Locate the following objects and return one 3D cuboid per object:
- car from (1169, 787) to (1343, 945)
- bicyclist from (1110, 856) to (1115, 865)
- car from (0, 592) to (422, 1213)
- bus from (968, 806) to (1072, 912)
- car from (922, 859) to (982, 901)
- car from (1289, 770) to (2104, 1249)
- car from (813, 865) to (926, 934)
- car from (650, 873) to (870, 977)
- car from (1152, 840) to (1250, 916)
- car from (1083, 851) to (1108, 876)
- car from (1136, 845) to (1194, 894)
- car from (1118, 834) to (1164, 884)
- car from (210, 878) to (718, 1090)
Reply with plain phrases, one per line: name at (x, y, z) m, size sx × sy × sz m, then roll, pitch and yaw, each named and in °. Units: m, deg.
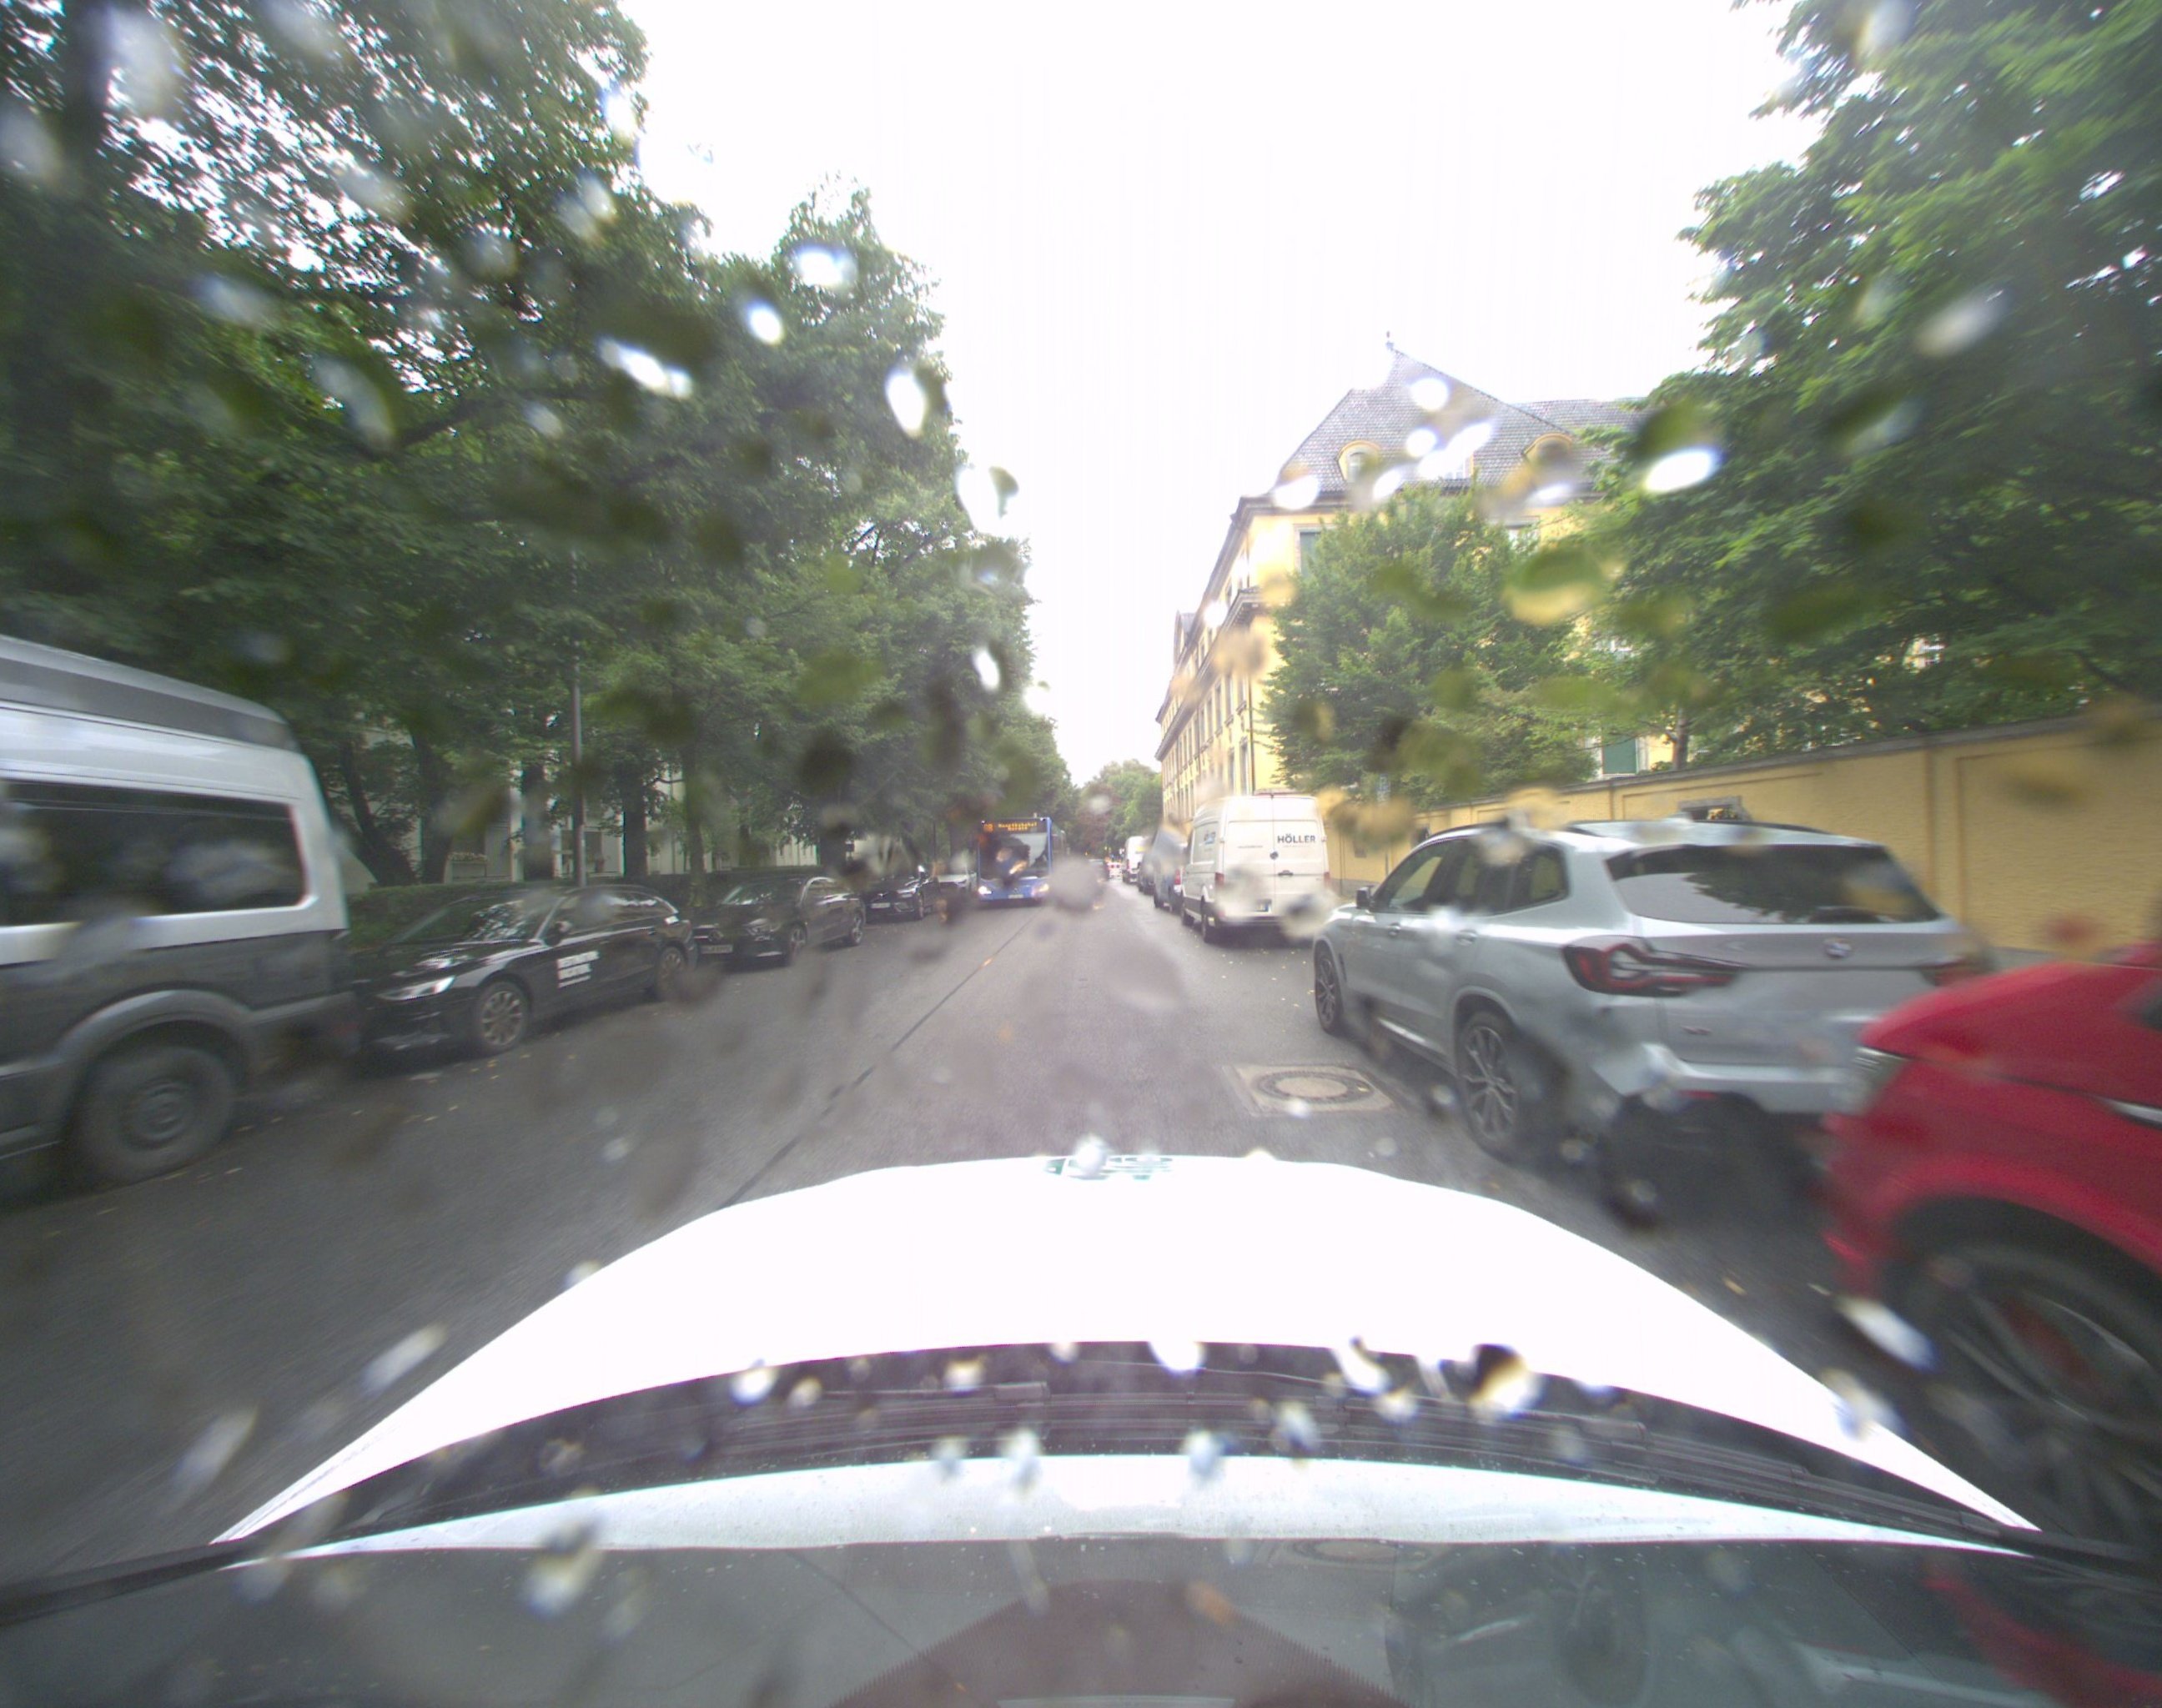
car at (3.143, 0.245, 16.057) m, size 2.089 × 2.488 × 5.738 m, roll -2°, pitch -1°, yaw 0°
bicyclist at (5.268, 1.084, 135.709) m, size 0.680 × 1.504 × 0.899 m, roll -2°, pitch -1°, yaw -7°
car at (-5.945, 0.226, 2.966) m, size 1.938 × 2.854 × 6.235 m, roll -2°, pitch -1°, yaw 0°
bus at (-2.035, 0.354, 35.054) m, size 2.850 × 3.239 × 18.423 m, roll -2°, pitch -1°, yaw 0°
car at (-5.340, 1.039, 34.277) m, size 1.778 × 1.597 × 4.583 m, roll -2°, pitch -1°, yaw -1°
car at (2.861, 0.585, 5.311) m, size 1.852 × 1.741 × 4.602 m, roll -1°, pitch 0°, yaw 0°
car at (-5.204, 1.068, 20.559) m, size 1.784 × 1.454 × 3.948 m, roll -2°, pitch 0°, yaw 0°
car at (-5.284, 1.085, 14.169) m, size 1.783 × 1.438 × 4.554 m, roll -2°, pitch -1°, yaw 3°
car at (3.250, 0.621, 23.162) m, size 2.007 × 1.906 × 5.162 m, roll -1°, pitch 0°, yaw 0°
car at (1.008, 0.630, 55.684) m, size 1.571 × 1.584 × 4.046 m, roll -2°, pitch -1°, yaw 2°
car at (3.468, 0.649, 34.494) m, size 1.865 × 1.869 × 4.985 m, roll -2°, pitch -1°, yaw -1°
car at (3.480, 0.316, 48.853) m, size 2.048 × 2.673 × 7.611 m, roll -2°, pitch -1°, yaw 0°
car at (-5.881, 1.094, 8.703) m, size 1.783 × 1.438 × 4.580 m, roll -2°, pitch 0°, yaw 2°
